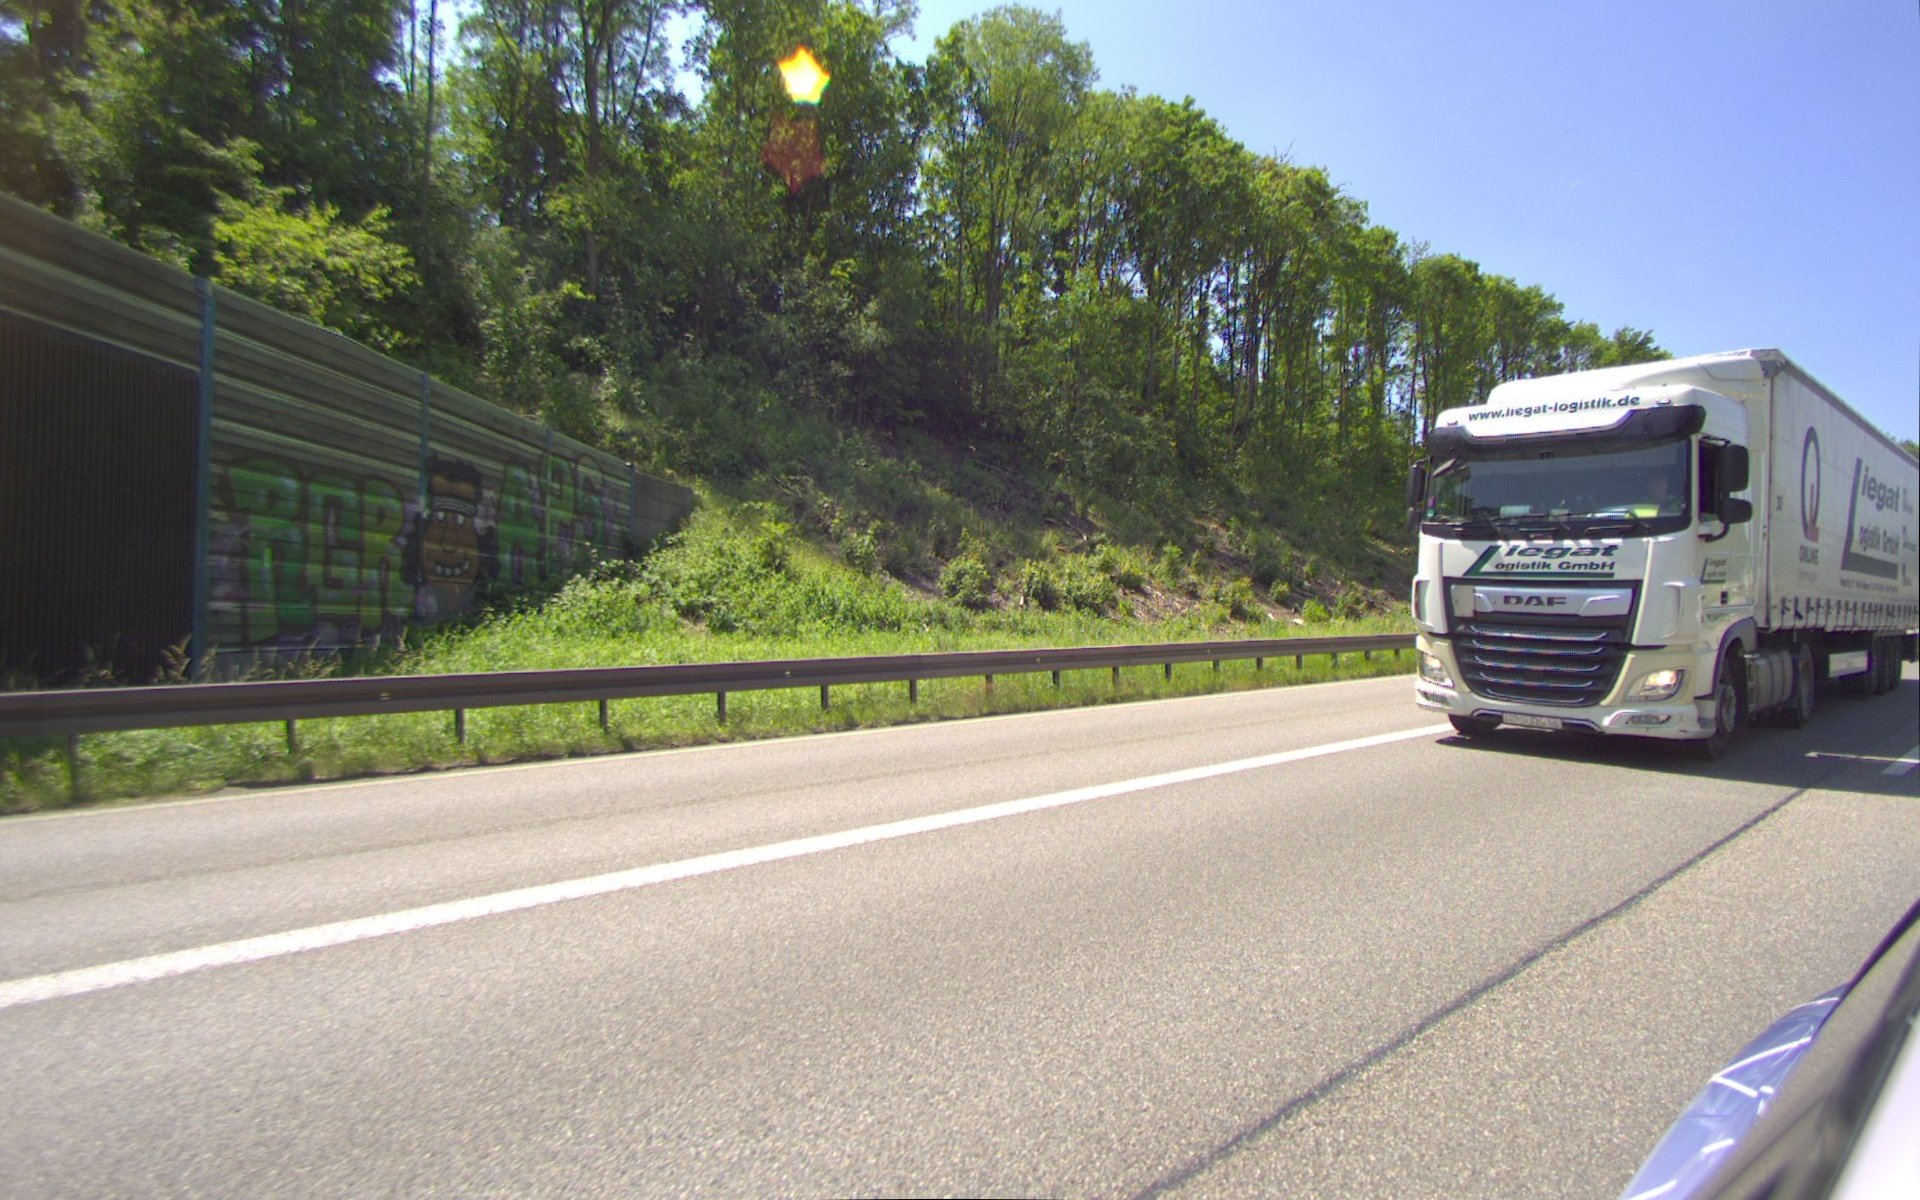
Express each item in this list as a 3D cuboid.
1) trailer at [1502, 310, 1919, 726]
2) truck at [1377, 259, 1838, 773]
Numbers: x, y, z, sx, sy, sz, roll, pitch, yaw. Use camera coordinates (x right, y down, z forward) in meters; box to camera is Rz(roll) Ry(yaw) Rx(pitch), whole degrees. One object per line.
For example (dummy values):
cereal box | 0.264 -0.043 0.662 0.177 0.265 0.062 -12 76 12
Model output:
trailer | 12.546 -0.781 15.652 13.008 4.258 2.791 1 -1 -40
truck | 7.437 -0.679 11.332 5.765 4.258 2.791 1 -1 -40
